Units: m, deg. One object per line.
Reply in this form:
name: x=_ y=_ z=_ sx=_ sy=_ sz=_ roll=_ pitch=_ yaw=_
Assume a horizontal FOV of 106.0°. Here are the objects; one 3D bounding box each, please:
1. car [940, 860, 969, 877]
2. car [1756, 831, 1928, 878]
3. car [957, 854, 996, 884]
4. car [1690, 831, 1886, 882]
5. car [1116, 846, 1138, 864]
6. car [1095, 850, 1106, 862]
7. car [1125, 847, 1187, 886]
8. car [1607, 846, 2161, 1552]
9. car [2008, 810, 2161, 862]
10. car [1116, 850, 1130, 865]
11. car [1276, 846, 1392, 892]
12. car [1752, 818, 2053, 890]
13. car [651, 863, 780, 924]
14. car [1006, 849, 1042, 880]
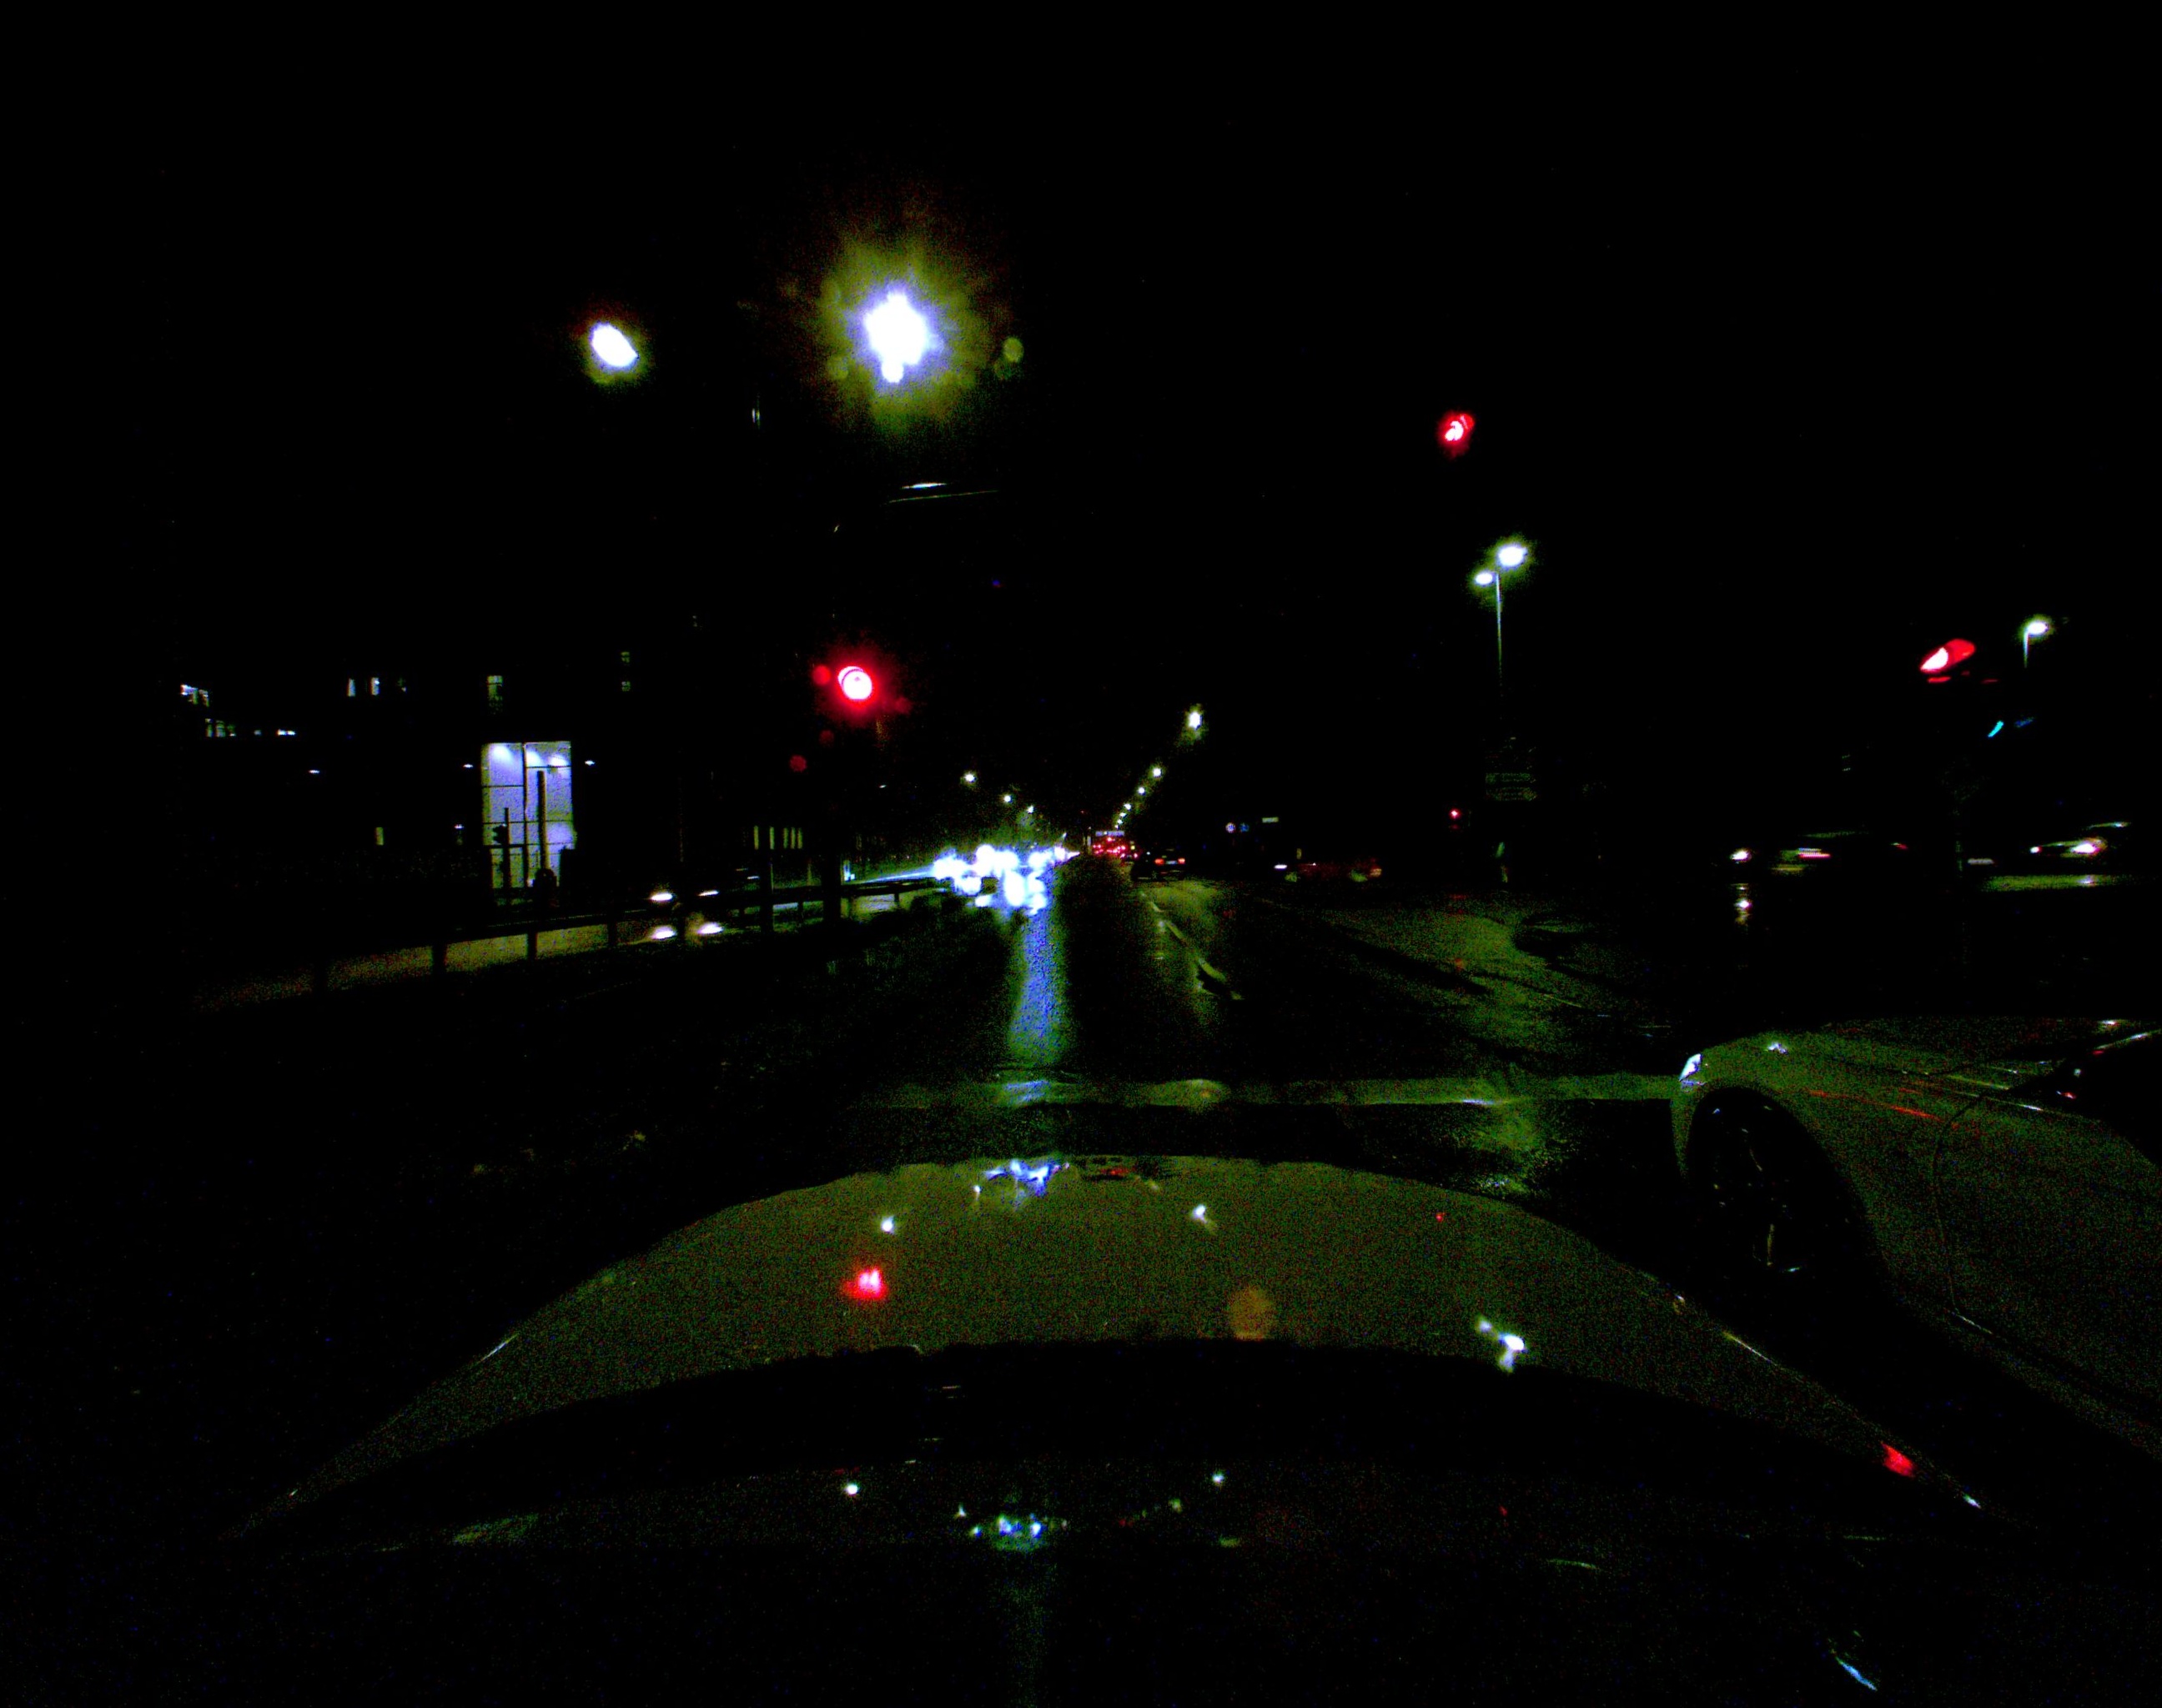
car: x=-11.902 y=1.342 z=76.938 sx=1.840 sy=1.590 sz=4.354 roll=-1 pitch=-1 yaw=2
car: x=27.990 y=0.038 z=30.104 sx=4.311 sy=1.590 sz=1.858 roll=-1 pitch=-1 yaw=10
car: x=-6.624 y=0.927 z=52.217 sx=1.776 sy=1.816 sz=4.002 roll=-2 pitch=-1 yaw=2
car: x=24.052 y=0.090 z=27.894 sx=4.823 sy=1.590 sz=1.857 roll=-1 pitch=-1 yaw=8
car: x=4.722 y=0.124 z=83.774 sx=1.898 sy=1.780 sz=3.996 roll=-1 pitch=-1 yaw=-3
car: x=3.531 y=0.329 z=146.078 sx=1.986 sy=2.014 sz=4.001 roll=-1 pitch=-1 yaw=2
car: x=3.760 y=0.633 z=41.312 sx=1.689 sy=1.838 sz=3.402 roll=-1 pitch=-1 yaw=-23
car: x=3.124 y=0.722 z=1.305 sx=1.714 sy=1.446 sz=4.383 roll=-3 pitch=-1 yaw=1
car: x=34.121 y=-0.586 z=26.945 sx=4.311 sy=1.590 sz=1.858 roll=-1 pitch=-1 yaw=10
car: x=6.574 y=0.589 z=128.086 sx=2.200 sy=2.215 sz=3.644 roll=-1 pitch=-1 yaw=2
car: x=10.231 y=0.618 z=32.968 sx=4.302 sy=1.755 sz=1.994 roll=-1 pitch=-1 yaw=19
car: x=20.022 y=0.029 z=20.126 sx=4.920 sy=1.610 sz=2.007 roll=-1 pitch=-1 yaw=12
car: x=-10.806 y=1.105 z=24.459 sx=1.764 sy=1.569 sz=4.333 roll=-2 pitch=-1 yaw=2
car: x=-3.885 y=0.697 z=55.763 sx=1.986 sy=2.014 sz=4.001 roll=-2 pitch=0 yaw=2
